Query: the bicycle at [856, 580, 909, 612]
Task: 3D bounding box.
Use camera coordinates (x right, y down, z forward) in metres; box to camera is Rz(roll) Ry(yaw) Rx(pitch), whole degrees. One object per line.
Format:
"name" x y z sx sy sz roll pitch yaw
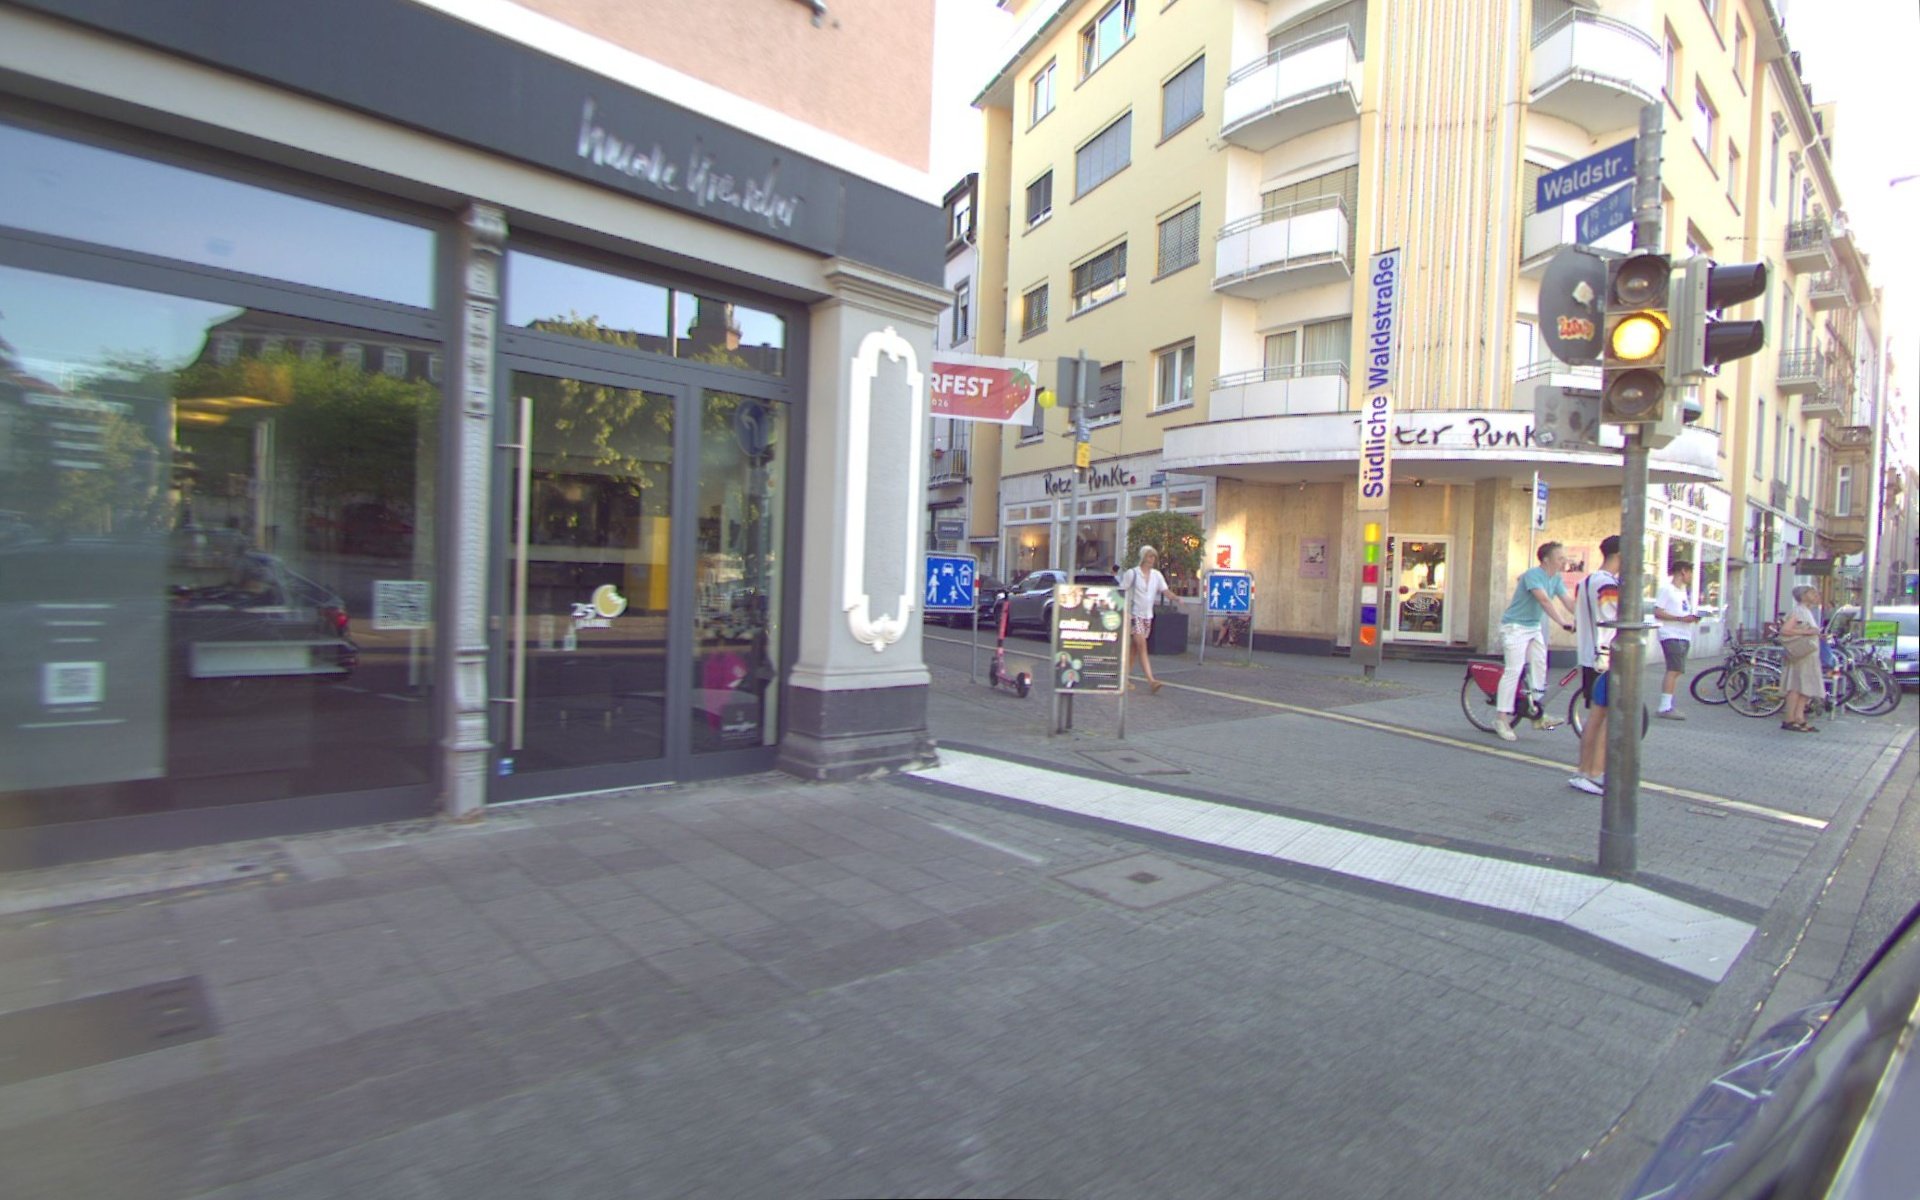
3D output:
"bicycle" -2.545 -0.131 33.139 1.678 0.966 0.592 2 1 -7

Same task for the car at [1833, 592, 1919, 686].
"car" 18.602 0.722 20.026 1.698 1.636 4.607 3 1 44

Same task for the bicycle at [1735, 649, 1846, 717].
"bicycle" 10.359 1.015 12.666 1.002 0.689 1.036 3 2 38

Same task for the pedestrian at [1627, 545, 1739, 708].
"pedestrian" 8.626 0.288 12.123 0.816 1.839 0.865 2 1 21

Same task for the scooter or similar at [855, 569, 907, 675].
"scooter or similar" -1.023 0.253 12.919 0.356 1.276 1.207 2 1 -18

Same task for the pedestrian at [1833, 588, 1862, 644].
"pedestrian" 32.923 0.578 37.537 0.836 2.039 0.673 1 1 -43

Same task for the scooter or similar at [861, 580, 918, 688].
"scooter or similar" -0.831 0.361 11.723 0.356 1.157 1.309 2 1 -16

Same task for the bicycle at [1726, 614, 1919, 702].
"bicycle" 13.062 0.843 15.396 2.167 1.088 0.794 5 2 40

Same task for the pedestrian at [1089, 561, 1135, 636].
"pedestrian" 3.501 -0.041 23.312 0.740 1.690 0.734 1 1 -24

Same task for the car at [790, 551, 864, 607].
"car" -5.495 -0.889 41.456 1.879 2.109 4.008 1 1 -24

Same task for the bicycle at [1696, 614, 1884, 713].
"bicycle" 10.734 0.786 13.180 1.778 1.076 0.709 5 2 36

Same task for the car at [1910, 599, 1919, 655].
"car" 31.208 0.866 31.661 4.355 1.694 1.875 1 1 -43

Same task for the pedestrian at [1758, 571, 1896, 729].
"pedestrian" 9.632 0.523 11.270 0.765 1.673 0.792 2 1 0

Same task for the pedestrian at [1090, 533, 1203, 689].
"pedestrian" 2.241 0.110 12.272 0.809 1.797 1.103 1 1 -24

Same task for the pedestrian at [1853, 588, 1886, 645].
"pedestrian" 33.253 0.602 36.999 0.836 2.039 0.762 1 1 -43

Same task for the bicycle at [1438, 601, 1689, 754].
"bicycle" 5.581 0.654 9.471 0.778 1.200 1.827 1 2 -34

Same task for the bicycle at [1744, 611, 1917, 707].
"bicycle" 12.507 0.815 14.616 1.778 1.187 0.614 5 2 36

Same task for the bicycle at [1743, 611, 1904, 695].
"bicycle" 13.709 0.810 16.144 1.840 1.137 0.587 4 3 36

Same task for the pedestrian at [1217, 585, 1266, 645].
"pedestrian" 5.816 0.305 20.943 0.691 1.199 0.638 1 1 -26

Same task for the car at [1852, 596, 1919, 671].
"car" 22.984 0.790 24.377 4.132 1.641 1.819 1 1 -43

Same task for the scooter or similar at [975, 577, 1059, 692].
"scooter or similar" 0.634 0.369 11.629 0.458 1.229 1.261 2 1 -20

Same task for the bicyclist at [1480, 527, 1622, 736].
"bicyclist" 5.552 0.269 9.515 0.815 1.849 0.836 1 1 -35

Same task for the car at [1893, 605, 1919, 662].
"car" 27.151 0.919 27.921 4.532 1.475 1.736 1 1 -43

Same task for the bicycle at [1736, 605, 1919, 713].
"bicycle" 11.624 0.746 13.575 1.842 1.255 0.630 4 2 42

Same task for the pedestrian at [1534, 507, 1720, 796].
"pedestrian" 4.761 0.320 7.304 0.931 1.921 0.819 3 1 26

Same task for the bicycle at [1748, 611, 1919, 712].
"bicycle" 12.151 0.816 14.086 1.778 1.187 0.614 5 2 36

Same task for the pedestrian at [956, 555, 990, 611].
"pedestrian" 0.387 -0.527 31.374 0.740 1.690 0.803 1 1 -24

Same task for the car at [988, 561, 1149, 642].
"car" 2.295 -0.030 22.573 1.797 1.612 3.997 1 1 -23

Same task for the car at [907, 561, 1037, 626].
"car" 0.219 -0.231 27.559 1.905 1.604 4.452 1 1 -23
